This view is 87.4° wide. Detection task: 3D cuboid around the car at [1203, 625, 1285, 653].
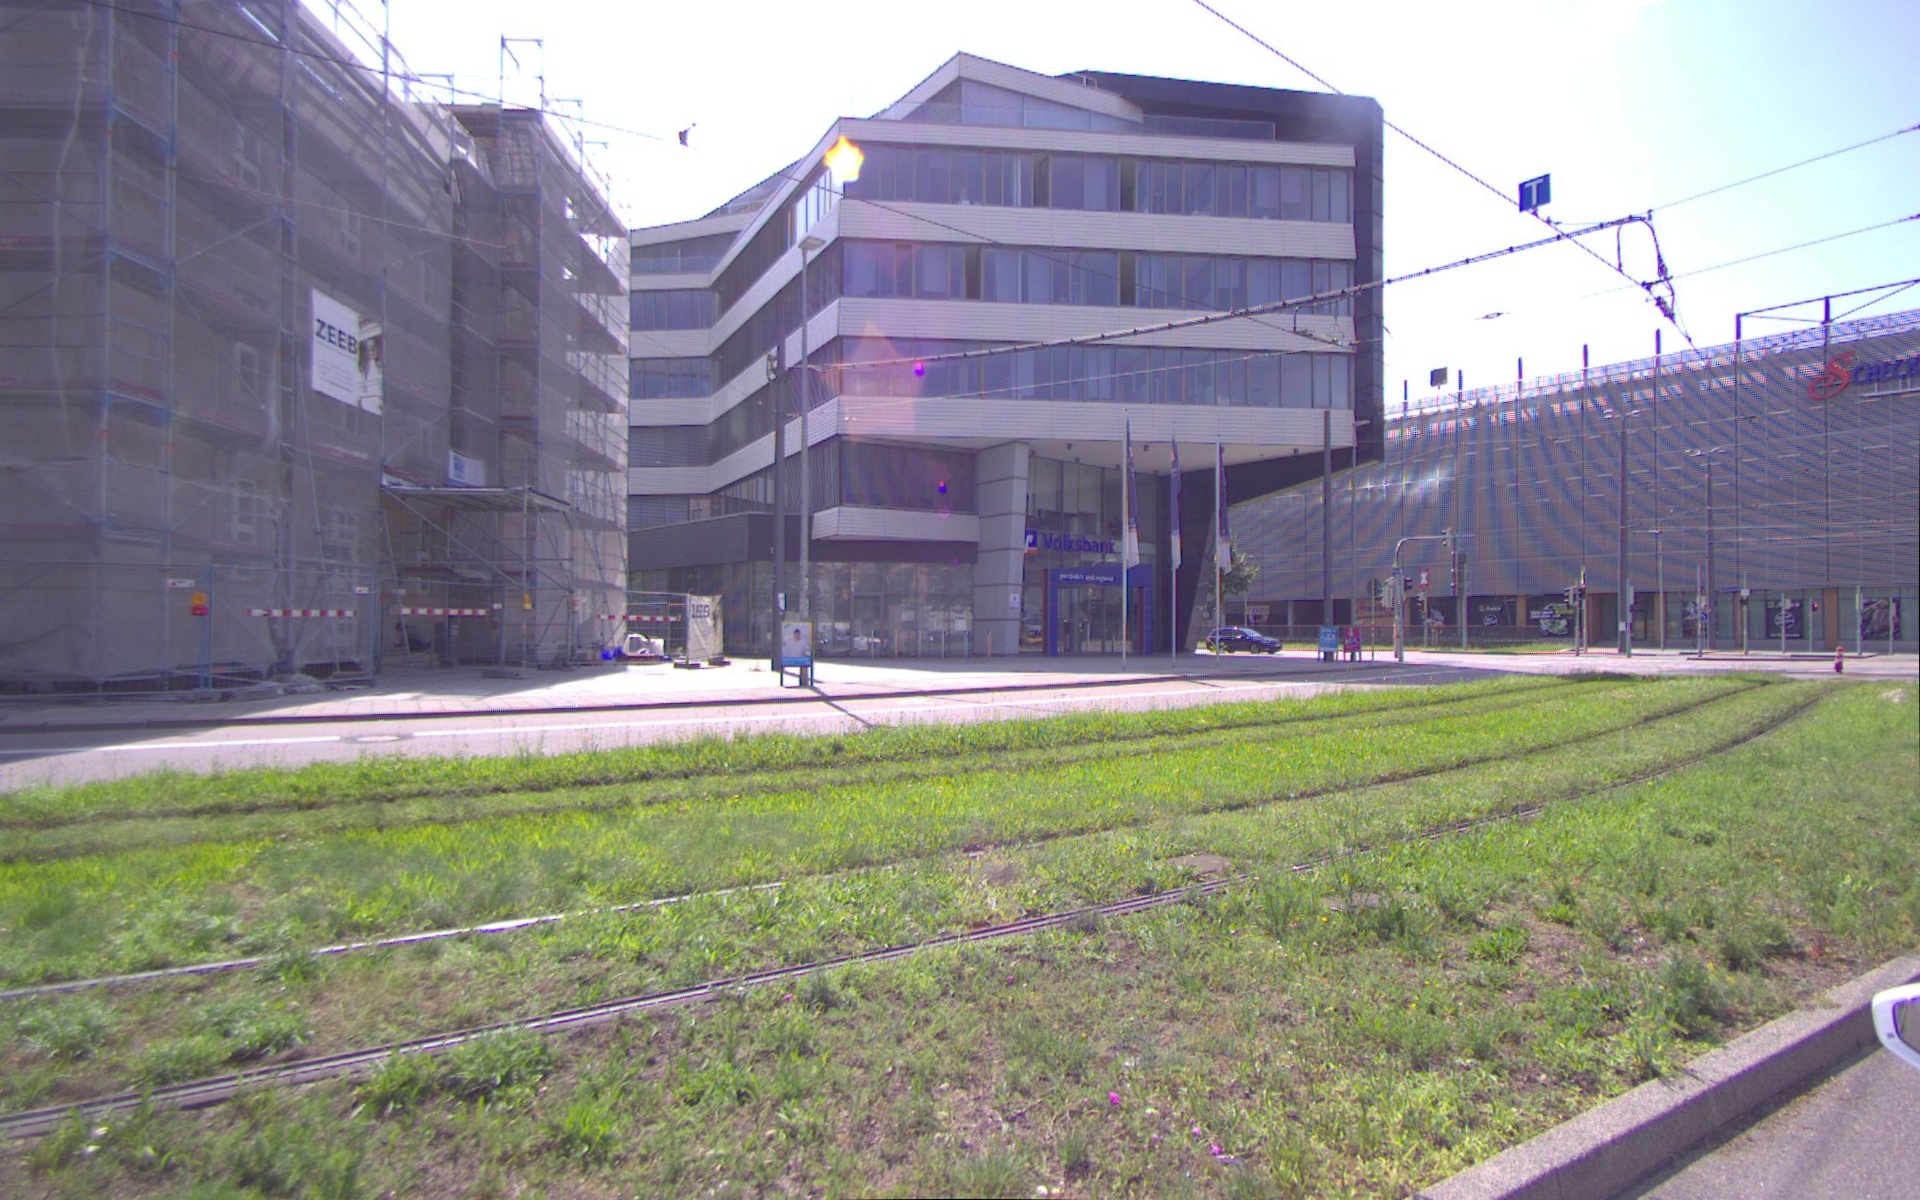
[{"bbox_3d":[15.513,2.094,55.013,1.812,1.488,4.066,1,-1,-39],"label":"car"}]
